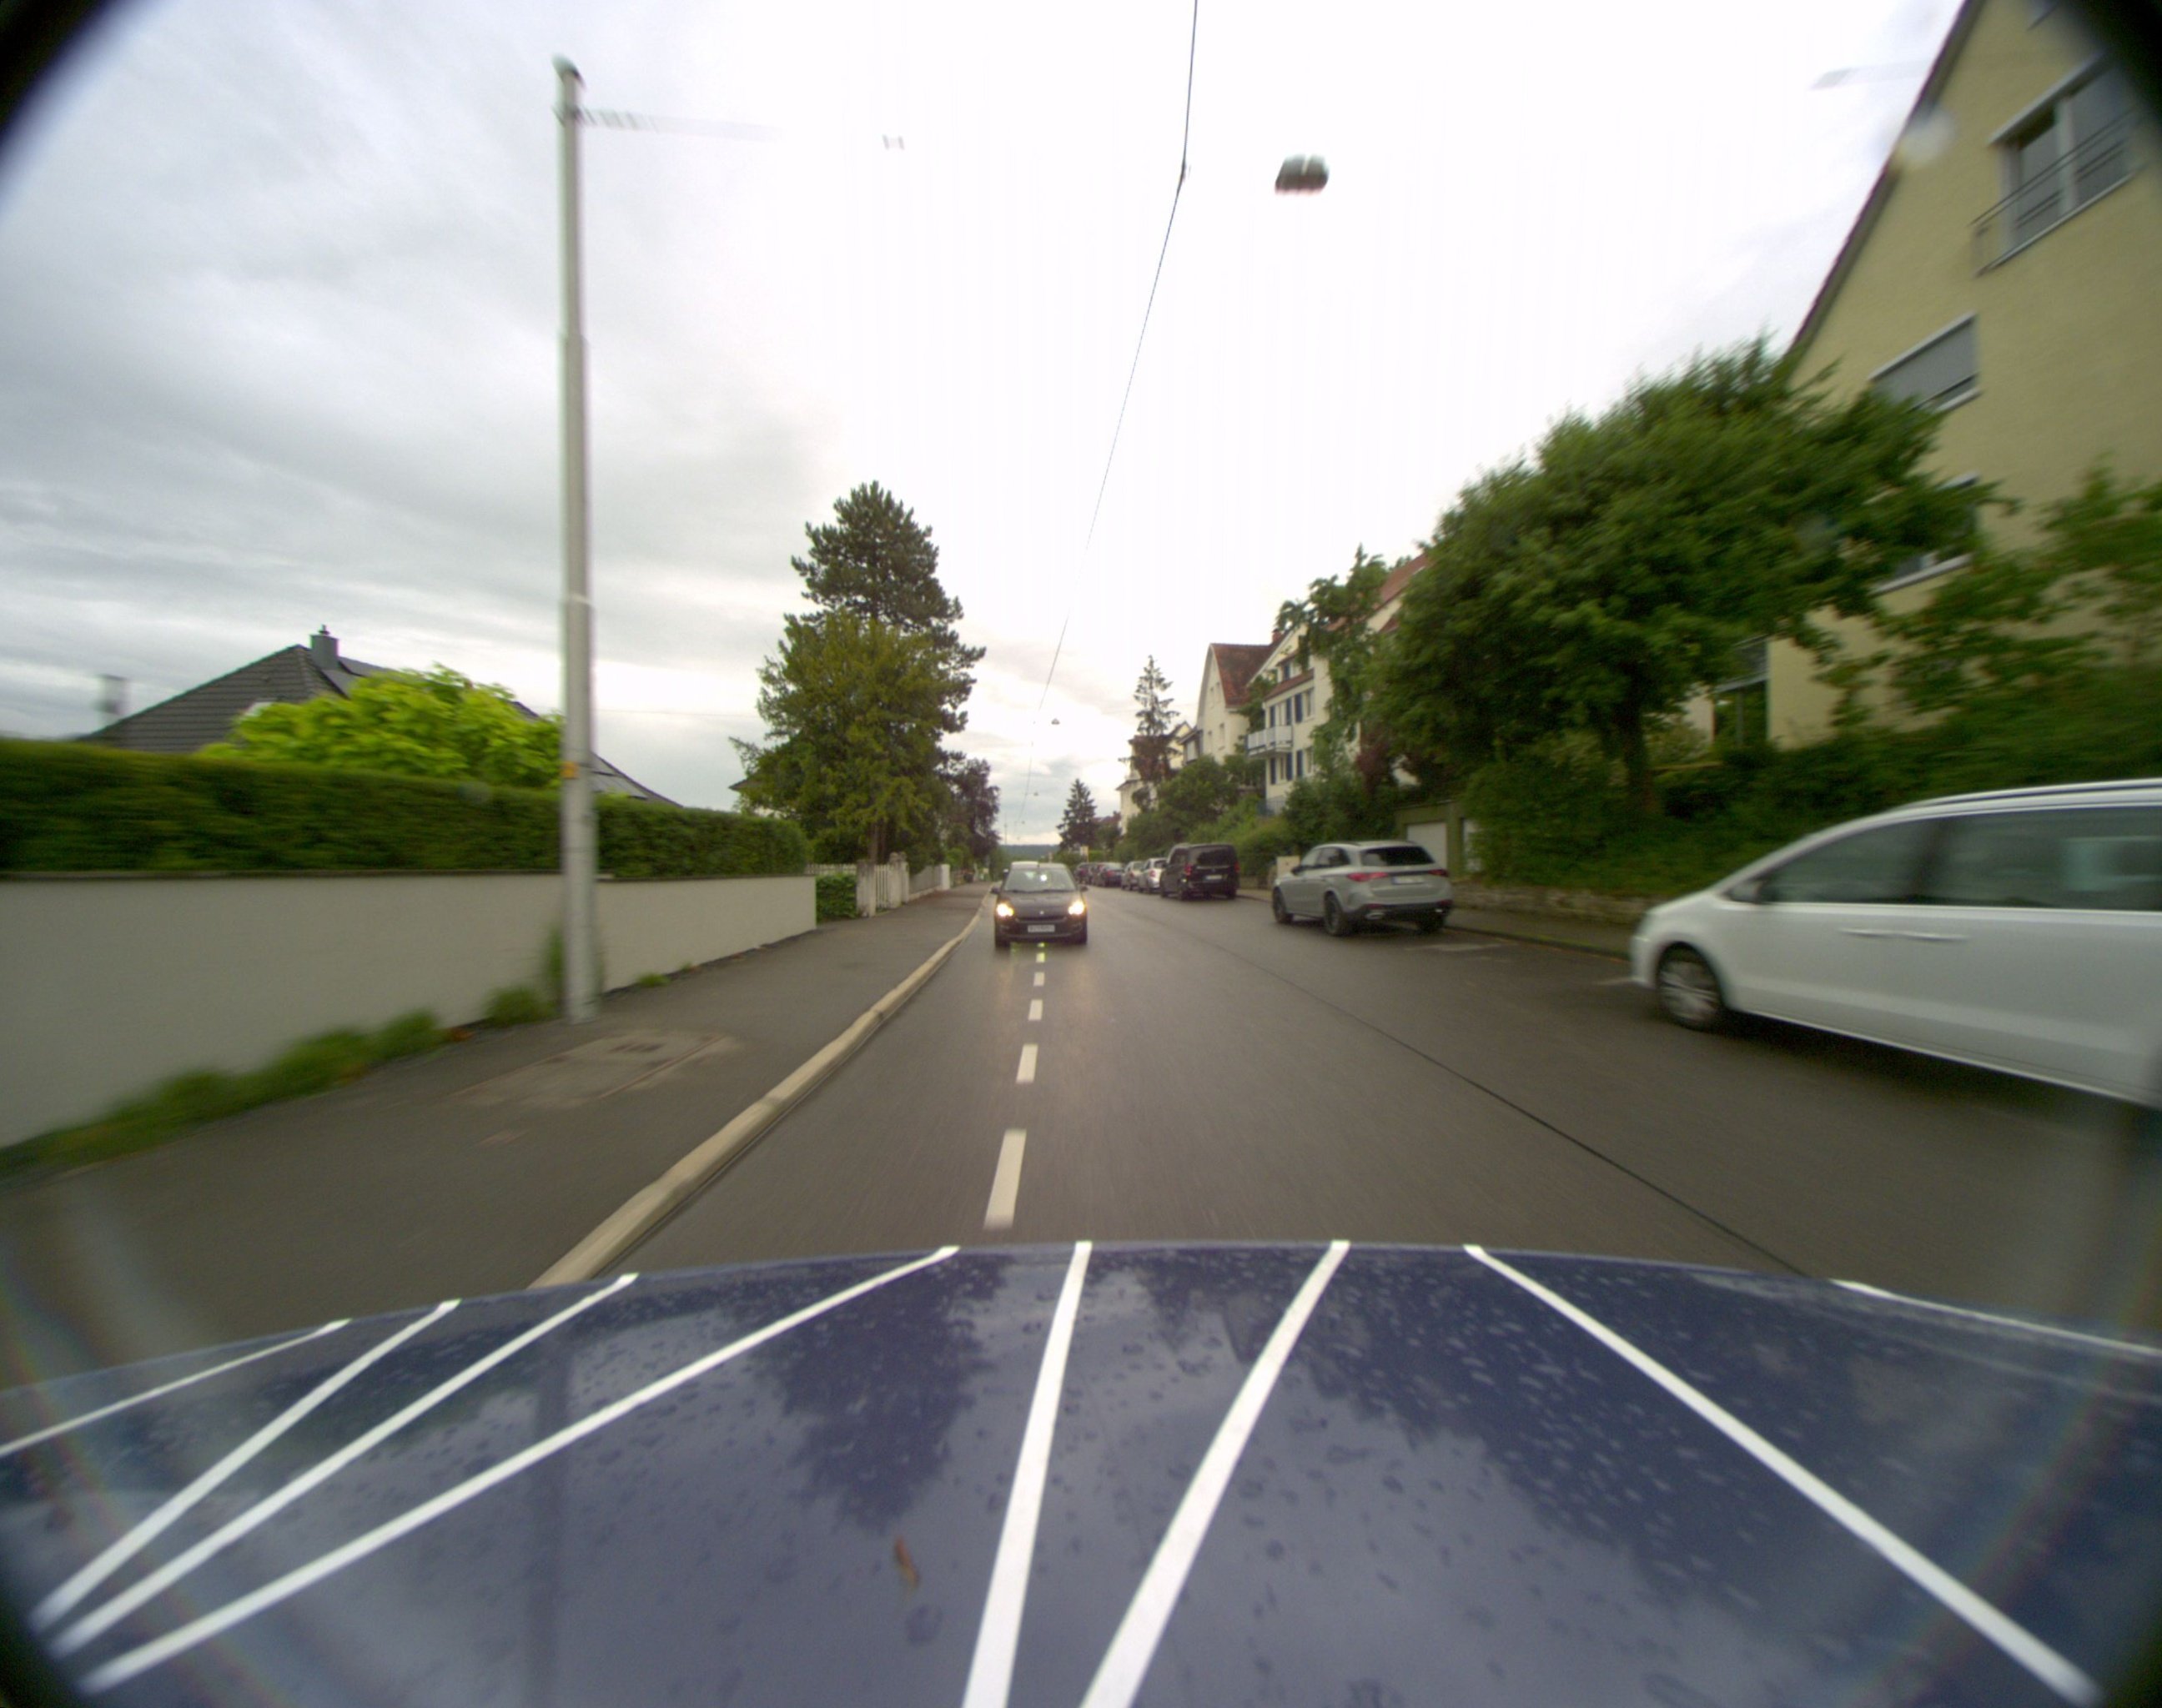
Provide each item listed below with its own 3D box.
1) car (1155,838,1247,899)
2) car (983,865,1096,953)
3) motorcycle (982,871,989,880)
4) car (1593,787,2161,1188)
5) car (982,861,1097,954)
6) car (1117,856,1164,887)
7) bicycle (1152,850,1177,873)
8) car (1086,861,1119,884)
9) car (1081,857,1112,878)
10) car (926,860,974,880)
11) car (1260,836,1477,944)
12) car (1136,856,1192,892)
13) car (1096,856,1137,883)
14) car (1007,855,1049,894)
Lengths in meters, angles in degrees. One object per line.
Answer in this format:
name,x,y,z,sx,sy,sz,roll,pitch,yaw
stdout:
car,4.161,0.505,27.332,1.999,1.867,5.354,-3,0,-5
car,-0.674,0.960,14.886,1.711,1.414,4.001,-2,0,3
motorcycle,-13.754,3.037,109.571,0.695,1.218,2.154,5,-2,-2
car,5.512,0.514,4.183,1.999,1.692,4.738,-4,0,-1
car,-0.669,1.001,14.838,1.696,1.481,3.942,-3,-3,3
car,2.984,0.929,38.852,1.651,1.438,3.627,-2,-2,-7
bicycle,5.098,0.482,46.352,1.007,1.293,2.290,-2,-2,-6
car,1.477,1.271,53.322,1.702,1.532,3.812,-2,-1,-7
car,1.162,1.046,58.361,1.899,1.438,3.813,-2,-2,-6
car,-11.680,1.434,67.913,3.999,1.629,1.918,-2,-2,-6
car,5.163,0.597,14.510,1.999,1.571,4.760,-4,0,-3
car,3.575,0.848,33.430,1.699,1.438,3.812,-2,0,-6
car,2.102,0.983,46.409,1.761,1.438,4.415,-2,-2,-7
car,-2.630,0.982,37.212,1.866,1.704,3.999,-2,0,-5
